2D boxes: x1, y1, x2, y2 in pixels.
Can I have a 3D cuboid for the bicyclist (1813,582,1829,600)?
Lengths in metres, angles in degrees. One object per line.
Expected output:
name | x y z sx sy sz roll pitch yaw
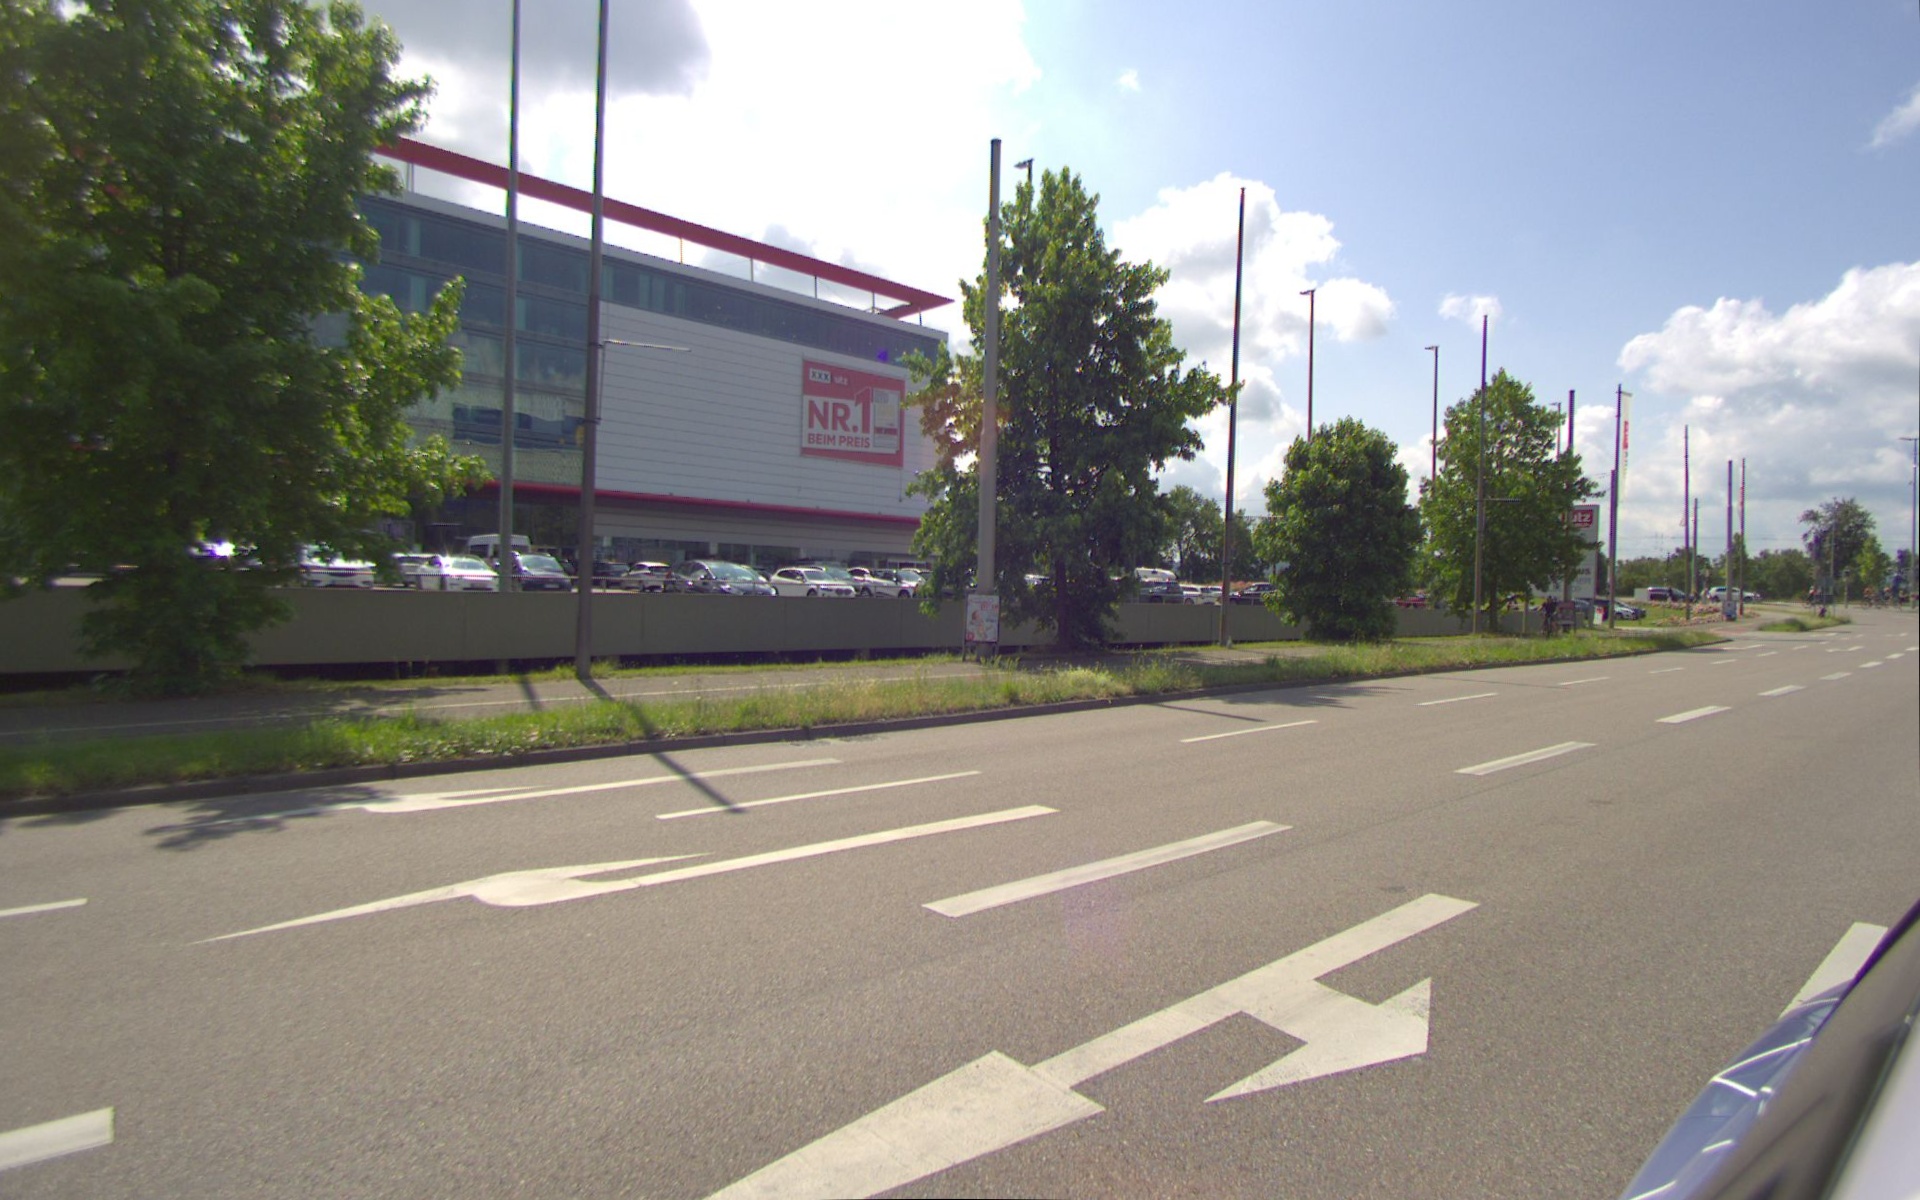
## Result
bicyclist | 73.109 -0.751 85.928 0.729 1.494 0.651 1 -1 1

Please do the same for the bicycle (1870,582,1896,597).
bicycle | 77.229 -0.871 84.665 1.481 1.180 0.619 1 -1 11

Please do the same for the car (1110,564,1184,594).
car | 20.270 -2.300 110.299 3.066 3.193 7.898 -1 2 -39

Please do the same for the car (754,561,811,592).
car | -10.960 -1.413 62.350 1.647 1.805 3.992 1 -1 -42

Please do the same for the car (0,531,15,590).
car | -27.095 -1.040 27.556 1.954 1.502 4.871 0 1 -43

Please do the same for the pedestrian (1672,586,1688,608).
pedestrian | 62.227 -0.296 87.473 0.864 1.787 0.849 6 0 44

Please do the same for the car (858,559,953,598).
car | -2.354 -0.888 43.330 1.967 1.591 3.989 0 1 -44

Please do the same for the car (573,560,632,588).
car | -19.374 -1.369 54.762 1.601 1.438 3.992 1 -1 -42

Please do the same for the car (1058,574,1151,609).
car | 7.254 -0.461 51.054 1.996 1.594 4.364 1 1 -43

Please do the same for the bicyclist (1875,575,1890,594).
bicyclist | 77.177 -1.288 84.682 0.686 1.555 0.618 0 -1 11

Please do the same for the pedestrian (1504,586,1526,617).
pedestrian | 32.481 0.106 59.277 0.856 1.805 0.783 1 -1 4

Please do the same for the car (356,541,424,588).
car | -23.925 -1.439 42.402 1.743 1.861 3.891 1 -1 -40

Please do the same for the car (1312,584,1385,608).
car | 26.502 -0.264 69.115 1.598 1.460 4.368 2 1 -40

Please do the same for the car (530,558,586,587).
car | -21.102 -1.408 53.036 1.601 1.438 3.572 1 -1 -42

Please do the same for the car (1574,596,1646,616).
car | 49.486 0.438 77.102 1.765 1.458 4.365 0 1 -41

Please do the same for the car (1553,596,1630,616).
car | 45.775 0.437 73.422 1.825 1.434 4.365 0 0 -42

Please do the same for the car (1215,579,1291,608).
car | 17.593 -0.414 60.921 4.056 1.550 1.714 3 2 45

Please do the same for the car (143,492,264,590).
car | -20.815 -1.480 27.751 2.027 2.396 5.663 0 0 -43

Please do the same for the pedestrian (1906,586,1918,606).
pedestrian | 77.097 -0.324 81.952 0.460 1.543 0.585 0 -1 -33

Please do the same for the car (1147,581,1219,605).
car | 14.297 -0.470 65.012 1.729 1.446 4.296 3 -1 -42

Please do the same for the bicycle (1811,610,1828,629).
bicycle | 45.095 1.027 53.073 1.518 0.964 0.517 -1 0 -43

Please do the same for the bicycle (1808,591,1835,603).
bicycle | 73.153 -0.238 85.928 1.664 0.973 0.665 1 -1 2

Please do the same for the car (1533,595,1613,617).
car | 42.452 0.383 70.142 1.824 1.495 4.366 0 0 -40

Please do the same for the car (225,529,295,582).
car | -27.053 -1.657 39.065 1.744 1.861 3.890 1 -1 -42

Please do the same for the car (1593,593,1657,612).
car | 52.707 0.203 80.272 1.687 1.436 3.991 -1 1 -43

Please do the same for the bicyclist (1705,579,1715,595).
bicyclist | 65.337 -1.126 88.183 0.682 1.342 0.586 0 -1 31

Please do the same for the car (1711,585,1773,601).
car | 74.532 -0.700 96.477 1.981 1.430 4.485 0 1 -45

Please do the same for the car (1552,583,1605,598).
car | 61.369 -0.989 100.394 4.236 1.377 1.722 3 3 44

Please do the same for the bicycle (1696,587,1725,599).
bicycle | 65.345 -0.601 88.171 1.971 0.973 0.590 0 -1 31

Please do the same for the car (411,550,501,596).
car | -17.530 -0.953 35.116 1.697 1.452 4.190 1 1 -42

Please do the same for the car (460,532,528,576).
car | -22.925 -2.220 49.737 1.965 1.976 3.992 1 -1 -42

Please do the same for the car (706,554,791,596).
car | -9.425 -1.068 44.901 1.965 1.742 3.993 1 -1 -41

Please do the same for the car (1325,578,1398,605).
car | 25.532 -0.556 64.422 1.666 1.608 4.019 2 0 -43

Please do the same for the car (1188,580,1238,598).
car | 21.574 -0.918 86.417 1.639 1.470 3.993 1 -1 -41

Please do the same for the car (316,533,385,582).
car | -27.833 -1.883 46.190 1.965 2.039 3.992 1 -1 -42

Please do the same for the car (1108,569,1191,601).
car | 10.203 -0.813 54.712 1.735 1.572 4.187 1 1 -43

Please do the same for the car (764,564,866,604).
car | -5.745 -0.647 39.809 1.862 1.406 4.186 1 1 -45

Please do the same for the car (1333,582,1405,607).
car | 28.487 -0.399 70.550 1.652 1.527 4.368 0 2 -40

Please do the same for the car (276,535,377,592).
car | -18.292 -1.003 29.141 1.718 1.534 3.990 -1 1 -43

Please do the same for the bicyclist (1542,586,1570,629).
bicyclist | 20.021 0.252 34.005 0.702 1.431 0.616 1 0 -42

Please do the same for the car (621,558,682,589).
car | -17.277 -1.439 56.563 1.772 1.638 3.993 1 -1 -41

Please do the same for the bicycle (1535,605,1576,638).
bicycle | 20.041 0.707 34.033 1.934 1.081 0.624 1 1 -42

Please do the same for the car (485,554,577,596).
car | -15.935 -0.949 37.487 1.860 1.452 4.190 1 1 -42

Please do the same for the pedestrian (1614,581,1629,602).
pedestrian | 59.559 -0.774 91.163 0.744 1.825 0.823 0 0 -15

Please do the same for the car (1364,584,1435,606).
car | 31.929 -0.361 73.551 1.814 1.379 4.368 2 1 -40

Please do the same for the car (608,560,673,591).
car | -16.057 -1.201 50.746 1.601 1.438 3.992 1 -1 -42
